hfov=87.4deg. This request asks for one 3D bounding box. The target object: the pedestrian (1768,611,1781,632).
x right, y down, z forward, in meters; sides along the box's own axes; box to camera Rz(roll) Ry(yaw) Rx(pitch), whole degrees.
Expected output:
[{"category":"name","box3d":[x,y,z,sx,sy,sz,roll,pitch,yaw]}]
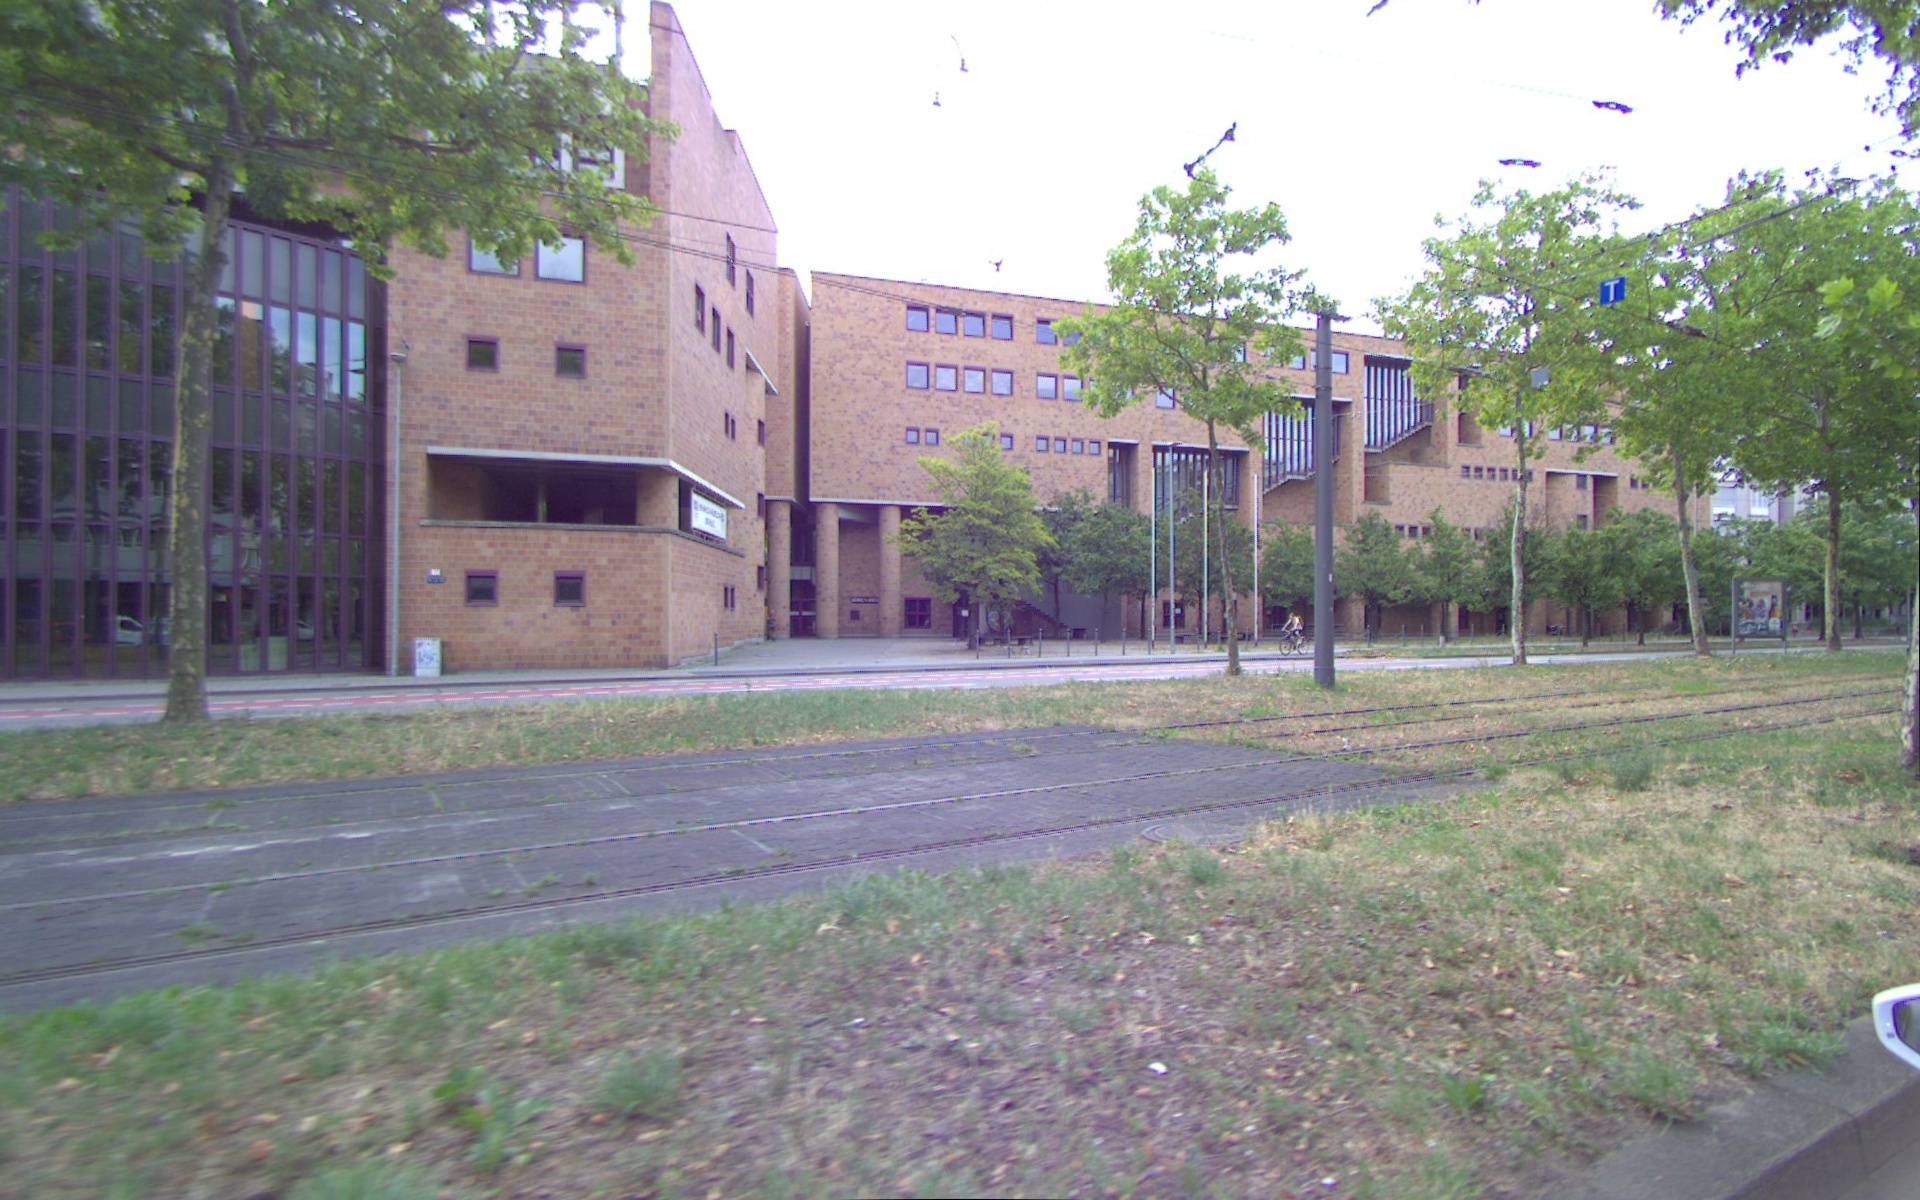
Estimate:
[{"category":"pedestrian","box3d":[64.397,1.699,79.407,0.618,1.728,0.551,0,-1,-25]}]

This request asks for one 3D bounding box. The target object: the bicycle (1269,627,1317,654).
[{"category":"bicycle","box3d":[14.022,1.701,42.236,2.066,1.099,0.665,0,-1,-27]}]

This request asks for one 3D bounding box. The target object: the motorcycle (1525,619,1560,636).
[{"category":"motorcycle","box3d":[43.809,2.066,75.540,2.162,1.207,0.794,-1,-1,38]}]

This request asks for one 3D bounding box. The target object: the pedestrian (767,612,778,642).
[{"category":"pedestrian","box3d":[-9.612,1.374,51.467,0.511,1.552,0.507,0,-1,-15]}]

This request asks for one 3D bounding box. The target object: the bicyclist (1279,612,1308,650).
[{"category":"bicyclist","box3d":[14.015,1.294,42.226,0.971,1.612,0.661,0,-1,-27]}]
